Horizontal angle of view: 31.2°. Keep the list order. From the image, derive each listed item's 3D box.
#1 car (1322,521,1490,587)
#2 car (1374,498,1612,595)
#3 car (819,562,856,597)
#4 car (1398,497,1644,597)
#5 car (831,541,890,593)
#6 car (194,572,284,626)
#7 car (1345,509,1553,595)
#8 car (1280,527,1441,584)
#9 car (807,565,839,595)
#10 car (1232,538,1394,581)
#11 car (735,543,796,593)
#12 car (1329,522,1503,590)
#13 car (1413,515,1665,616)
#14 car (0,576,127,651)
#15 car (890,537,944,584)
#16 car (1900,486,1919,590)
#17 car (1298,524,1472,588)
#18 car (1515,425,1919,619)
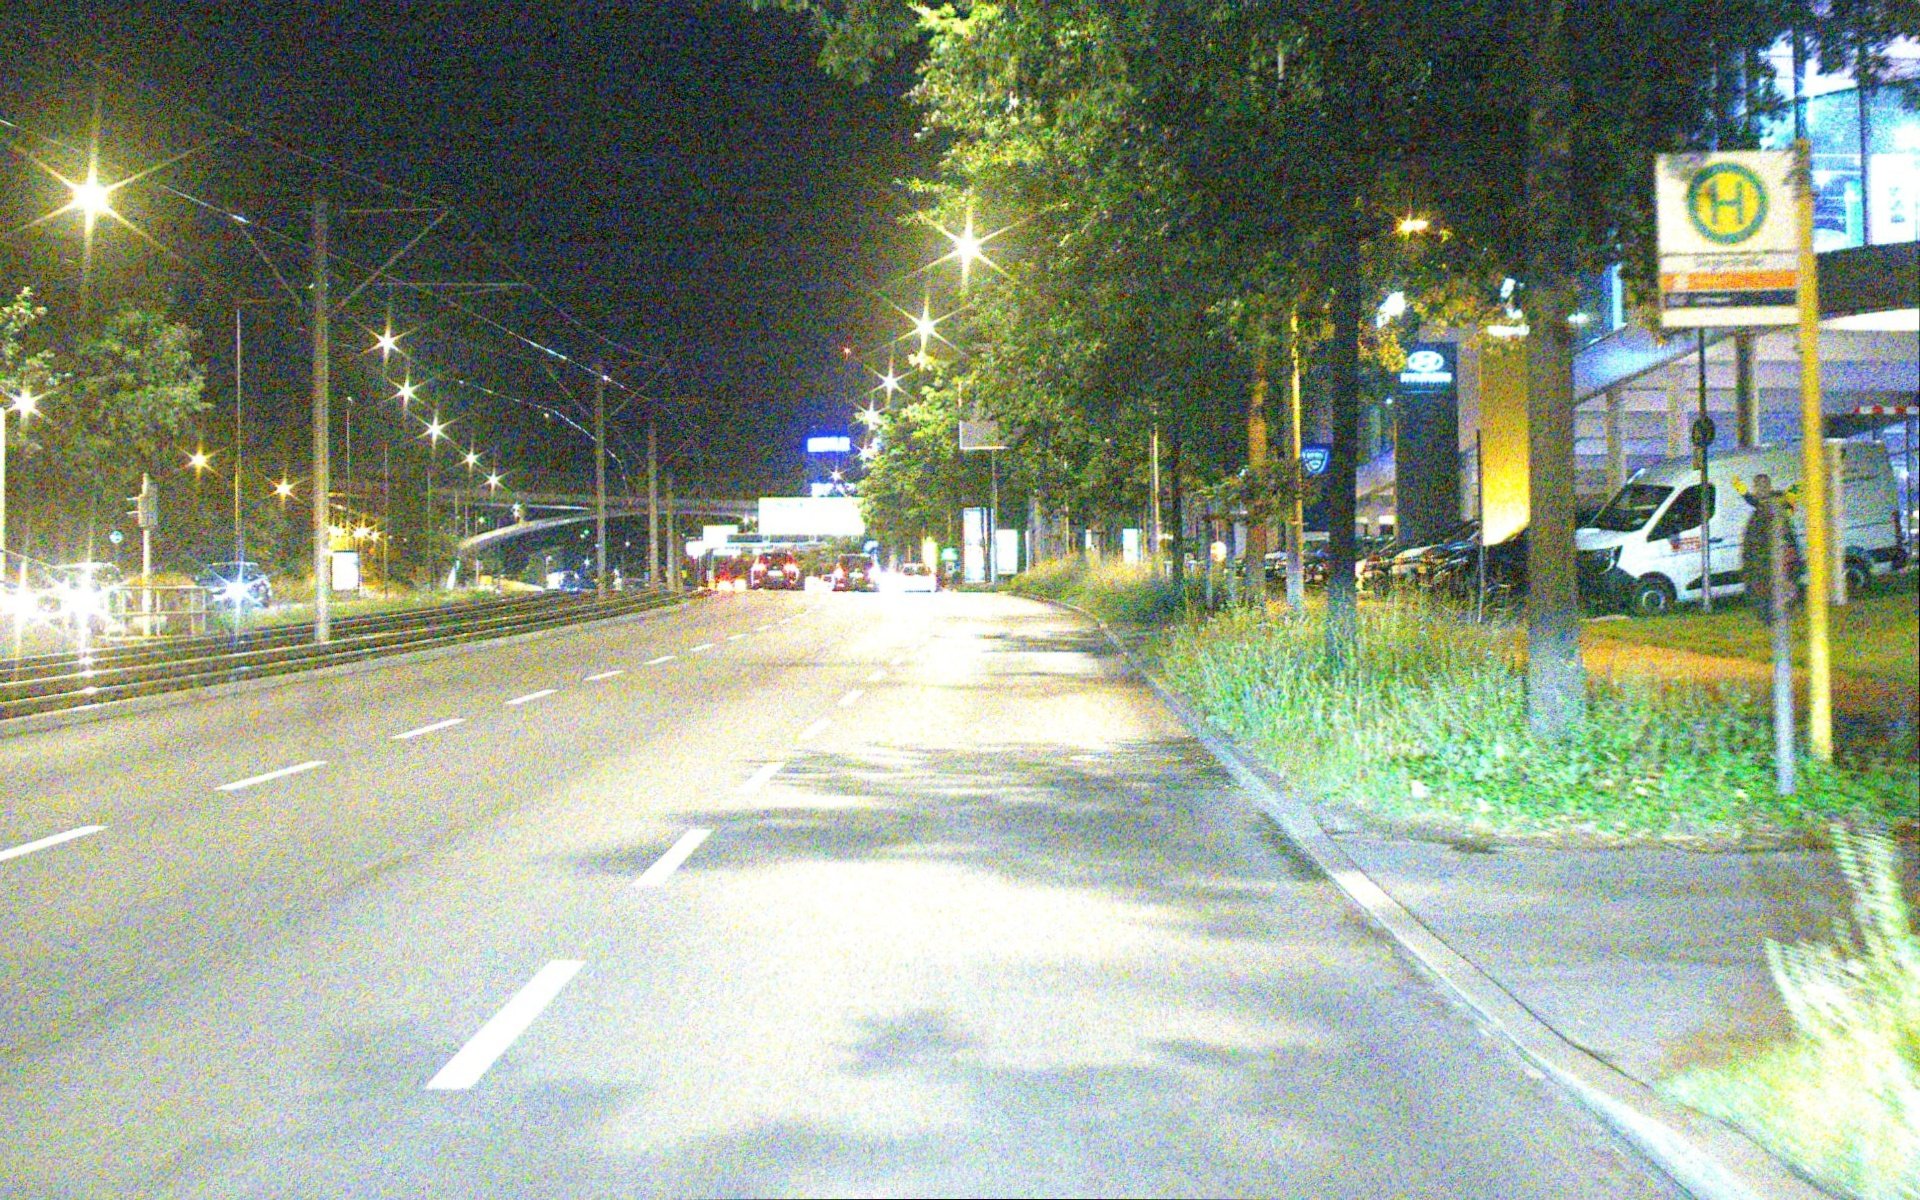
[{"bbox_3d":[11.288,-1.154,87.092,3.766,1.374,1.717,-5,1,-13],"label":"car"},{"bbox_3d":[11.289,-1.139,72.969,4.459,1.681,2.001,-5,2,-11],"label":"car"},{"bbox_3d":[-6.560,-1.109,184.468,1.887,1.853,4.000,0,0,-1],"label":"car"},{"bbox_3d":[11.411,-1.081,70.102,4.459,1.804,2.001,-3,1,-11],"label":"car"},{"bbox_3d":[-4.079,-1.356,141.473,2.356,2.122,4.826,0,0,-1],"label":"car"},{"bbox_3d":[-20.609,-0.027,98.364,1.660,1.511,3.910,0,0,1],"label":"car"},{"bbox_3d":[10.792,-1.060,75.970,4.079,1.563,1.855,-5,2,-11],"label":"car"},{"bbox_3d":[11.090,-1.242,95.200,3.986,1.387,1.827,-3,2,-22],"label":"car"},{"bbox_3d":[-8.430,-1.245,211.956,1.887,1.853,4.000,0,0,-1],"label":"car"},{"bbox_3d":[10.891,-1.254,106.023,4.628,1.260,1.948,-1,2,-25],"label":"car"},{"bbox_3d":[-7.859,-1.291,139.250,2.262,2.007,4.826,0,0,-1],"label":"car"},{"bbox_3d":[11.200,-1.079,84.526,3.801,1.448,1.718,-4,1,-14],"label":"car"},{"bbox_3d":[10.944,-0.660,65.122,4.201,1.657,1.961,-3,1,-11],"label":"car"},{"bbox_3d":[-18.534,0.295,70.871,1.784,1.492,4.174,0,-1,-1],"label":"car"},{"bbox_3d":[-1.957,-1.786,156.030,2.427,2.106,4.826,0,0,-1],"label":"car"},{"bbox_3d":[17.206,-1.073,55.470,1.805,1.706,3.968,-3,1,-22],"label":"car"},{"bbox_3d":[11.089,-1.154,89.736,4.022,1.369,1.826,-4,1,-16],"label":"car"},{"bbox_3d":[12.265,-1.255,55.258,6.015,2.520,2.284,-6,2,-17],"label":"car"}]
